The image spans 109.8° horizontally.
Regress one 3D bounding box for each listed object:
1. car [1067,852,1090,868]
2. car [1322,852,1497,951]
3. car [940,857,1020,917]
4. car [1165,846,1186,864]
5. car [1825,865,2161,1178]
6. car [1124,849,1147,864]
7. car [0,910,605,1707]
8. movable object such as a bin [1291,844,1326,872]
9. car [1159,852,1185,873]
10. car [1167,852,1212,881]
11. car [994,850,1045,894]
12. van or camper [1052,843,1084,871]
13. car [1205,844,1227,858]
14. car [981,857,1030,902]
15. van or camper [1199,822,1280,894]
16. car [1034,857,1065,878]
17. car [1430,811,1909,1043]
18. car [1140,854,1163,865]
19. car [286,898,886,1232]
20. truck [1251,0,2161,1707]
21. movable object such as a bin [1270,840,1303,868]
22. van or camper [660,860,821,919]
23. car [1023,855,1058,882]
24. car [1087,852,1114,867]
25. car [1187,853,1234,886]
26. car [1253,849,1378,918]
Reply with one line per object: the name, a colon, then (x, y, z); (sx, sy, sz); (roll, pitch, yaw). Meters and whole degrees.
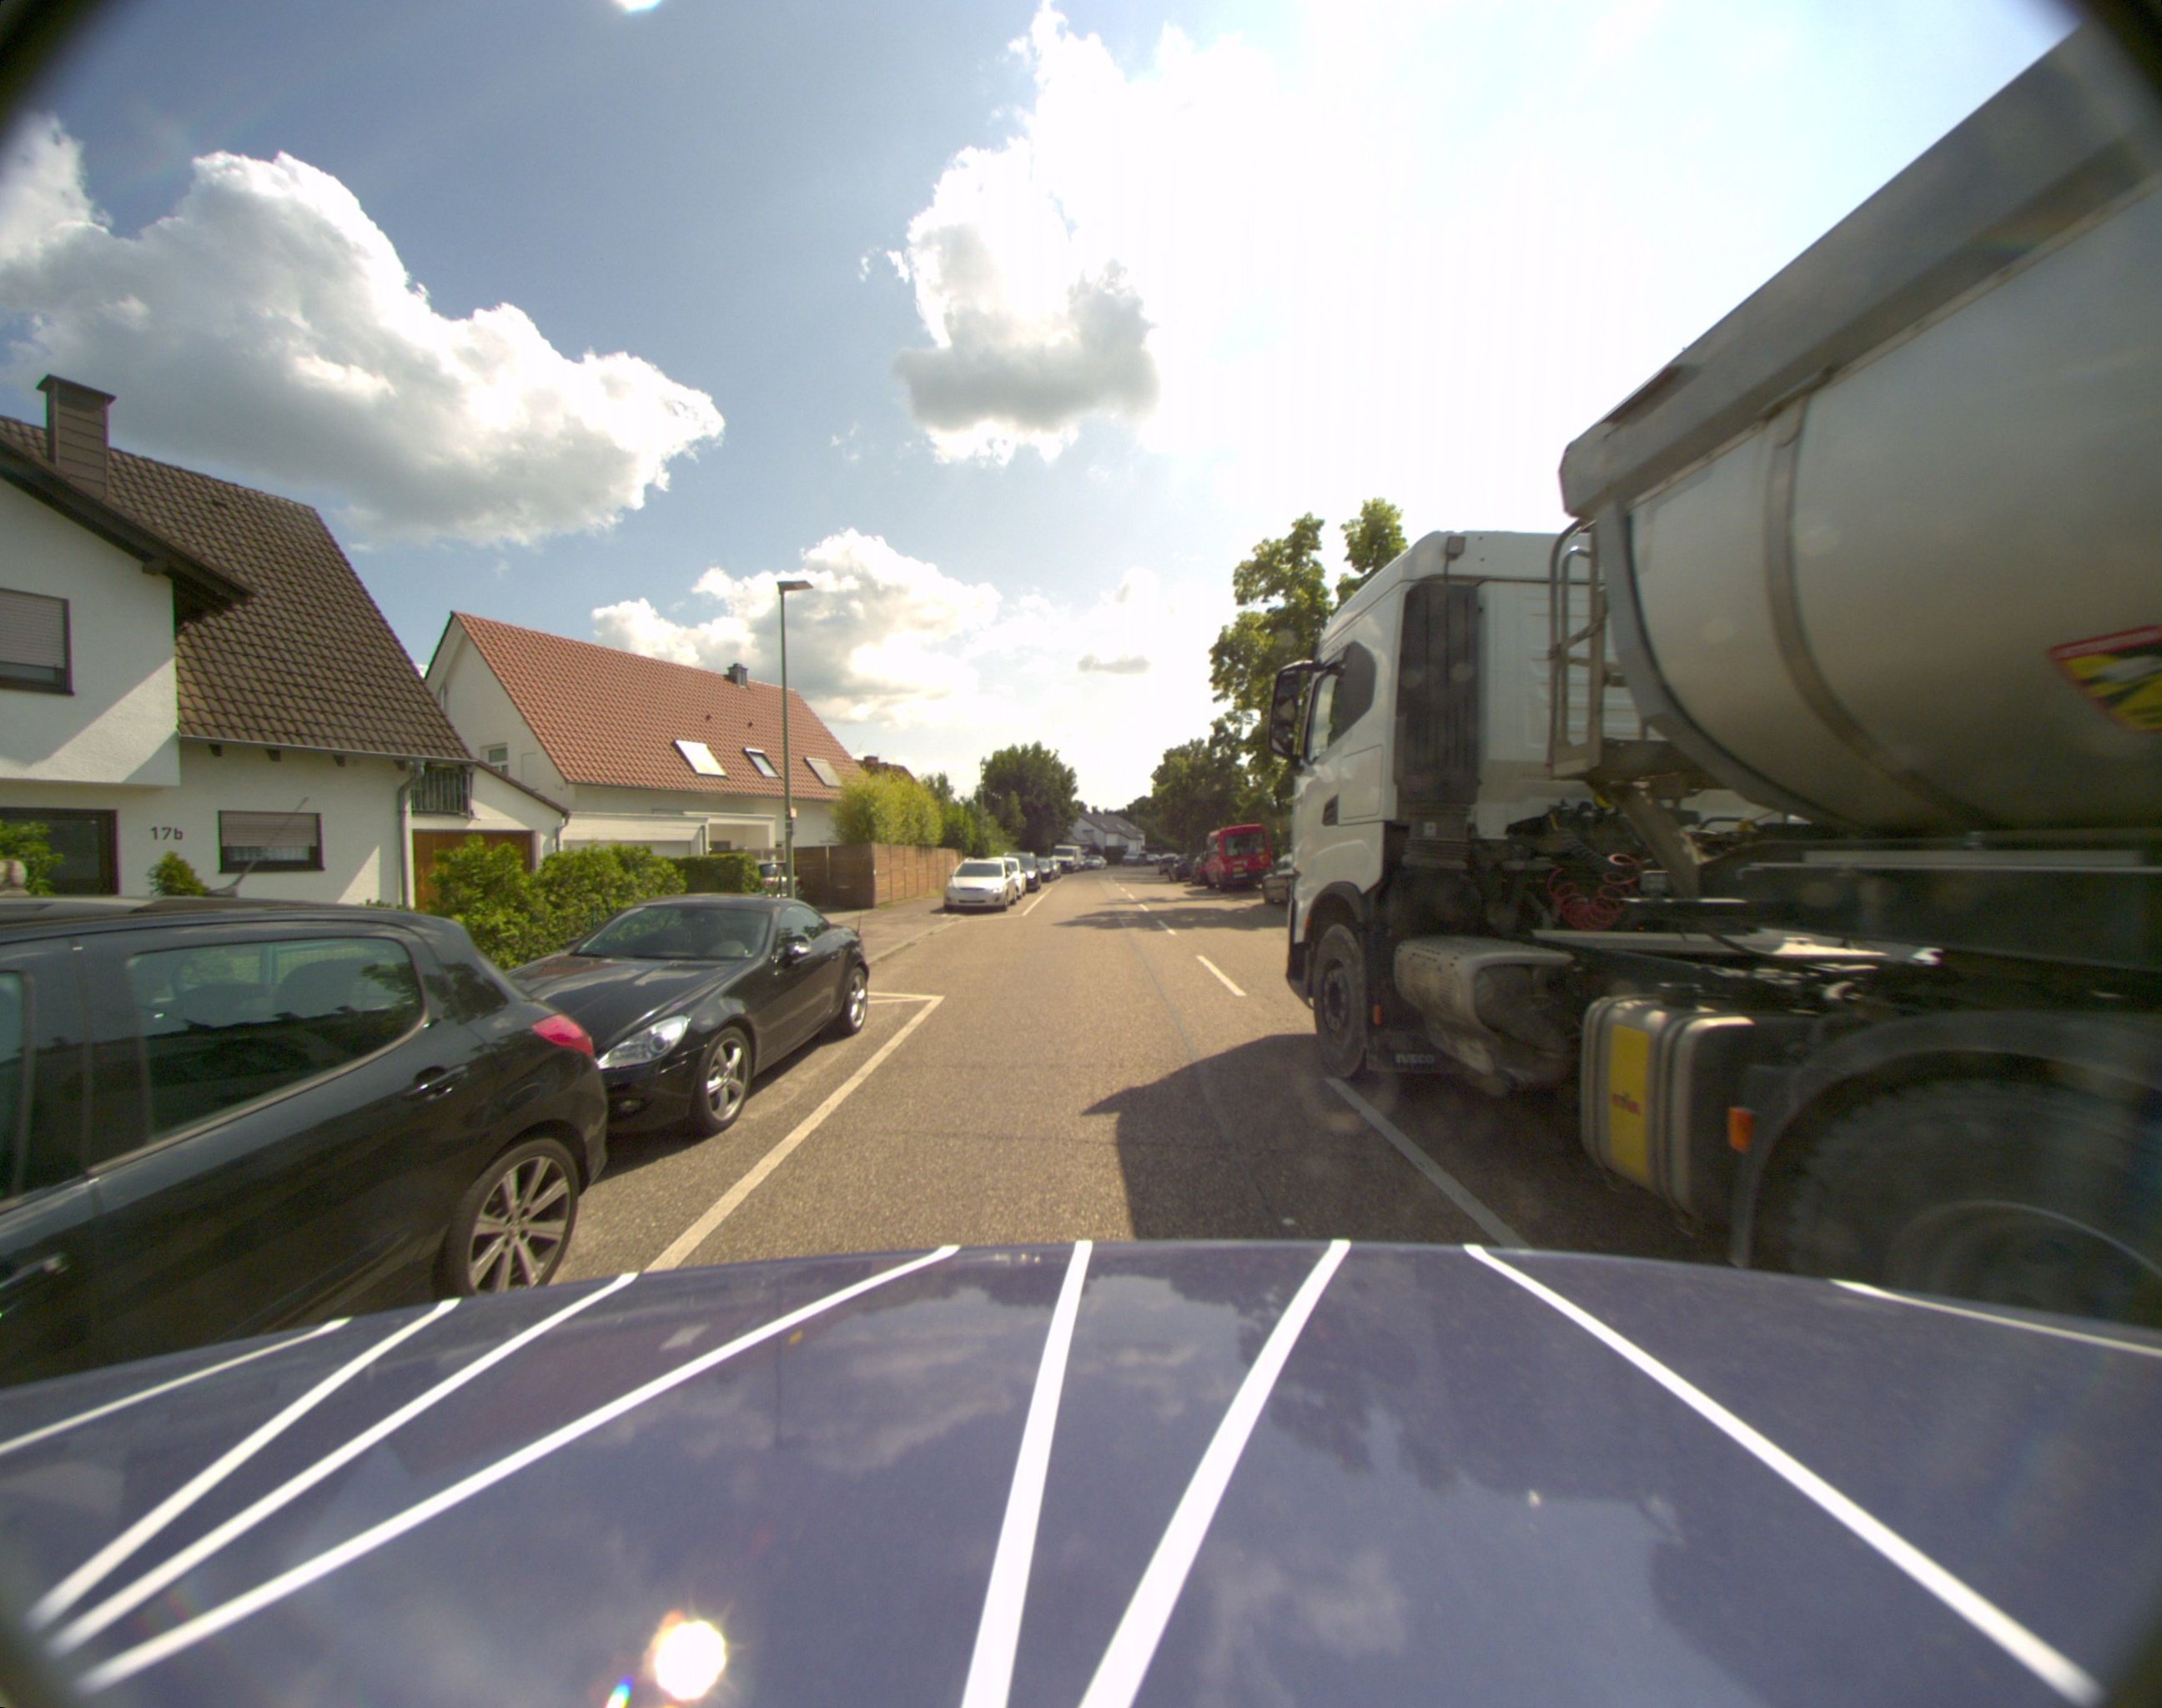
car: (-0.223, 0.587, 73.100); (1.683, 1.513, 4.065); (-1, 0, 8)
car: (6.003, 0.778, 14.399); (1.626, 1.461, 3.925); (-4, 1, 2)
car: (-2.931, 0.917, 22.930); (1.749, 1.543, 4.292); (-2, 0, 0)
car: (8.731, 0.104, 70.002); (1.757, 1.479, 3.684); (-6, -1, 8)
car: (6.332, 0.838, 3.117); (1.753, 1.452, 4.708); (-5, -1, -2)
car: (6.867, 0.286, 95.108); (1.838, 1.855, 4.287); (1, 1, 17)
car: (-2.802, 1.012, 1.022); (1.748, 1.542, 4.121); (0, 0, -1)
movable object such as a bin: (11.571, 0.209, 38.680); (1.299, 1.378, 1.291); (-3, 0, -6)
car: (7.163, 0.670, 60.269); (1.758, 1.410, 4.001); (-6, 0, 5)
car: (6.186, 0.705, 43.734); (1.735, 1.468, 4.631); (-4, 0, -1)
car: (-2.676, 0.751, 33.980); (1.896, 1.763, 4.708); (-1, 0, 0)
van or camper: (-1.064, 0.264, 65.881); (1.972, 2.345, 5.762); (-1, 0, 8)
car: (17.146, -0.338, 96.406); (1.820, 1.714, 3.688); (-1, 0, 23)
car: (-2.759, 0.892, 28.311); (1.446, 1.496, 3.670); (-3, 0, -1)
van or camper: (6.412, 0.144, 31.535); (2.153, 2.534, 6.224); (-5, 0, 3)
car: (-2.104, 0.895, 51.957); (1.684, 1.428, 4.063); (-1, 0, 4)
car: (5.945, 0.605, 8.583); (1.814, 1.795, 4.490); (-5, 0, 0)
car: (9.414, 0.676, 101.055); (1.841, 1.410, 3.895); (-1, 0, 23)
car: (-2.852, 1.120, 5.576); (1.714, 1.310, 3.963); (-1, 0, 1)
truck: (2.928, -0.135, 3.686); (2.780, 3.478, 5.881); (-1, 0, -1)
movable object such as a bin: (11.153, 0.016, 41.325); (1.299, 1.477, 1.305); (-3, 0, -6)
van or camper: (-9.711, 0.971, 21.690); (3.990, 1.521, 2.003); (-1, 0, 23)
car: (-2.378, 0.818, 45.423); (1.731, 1.496, 4.295); (0, 1, 1)
car: (2.089, 0.595, 80.644); (1.817, 1.513, 4.270); (-1, 0, 15)
car: (6.388, 0.717, 37.926); (1.692, 1.428, 4.464); (-4, 0, 2)
car: (6.071, 0.674, 20.278); (1.814, 1.485, 4.596); (-5, 0, 0)
